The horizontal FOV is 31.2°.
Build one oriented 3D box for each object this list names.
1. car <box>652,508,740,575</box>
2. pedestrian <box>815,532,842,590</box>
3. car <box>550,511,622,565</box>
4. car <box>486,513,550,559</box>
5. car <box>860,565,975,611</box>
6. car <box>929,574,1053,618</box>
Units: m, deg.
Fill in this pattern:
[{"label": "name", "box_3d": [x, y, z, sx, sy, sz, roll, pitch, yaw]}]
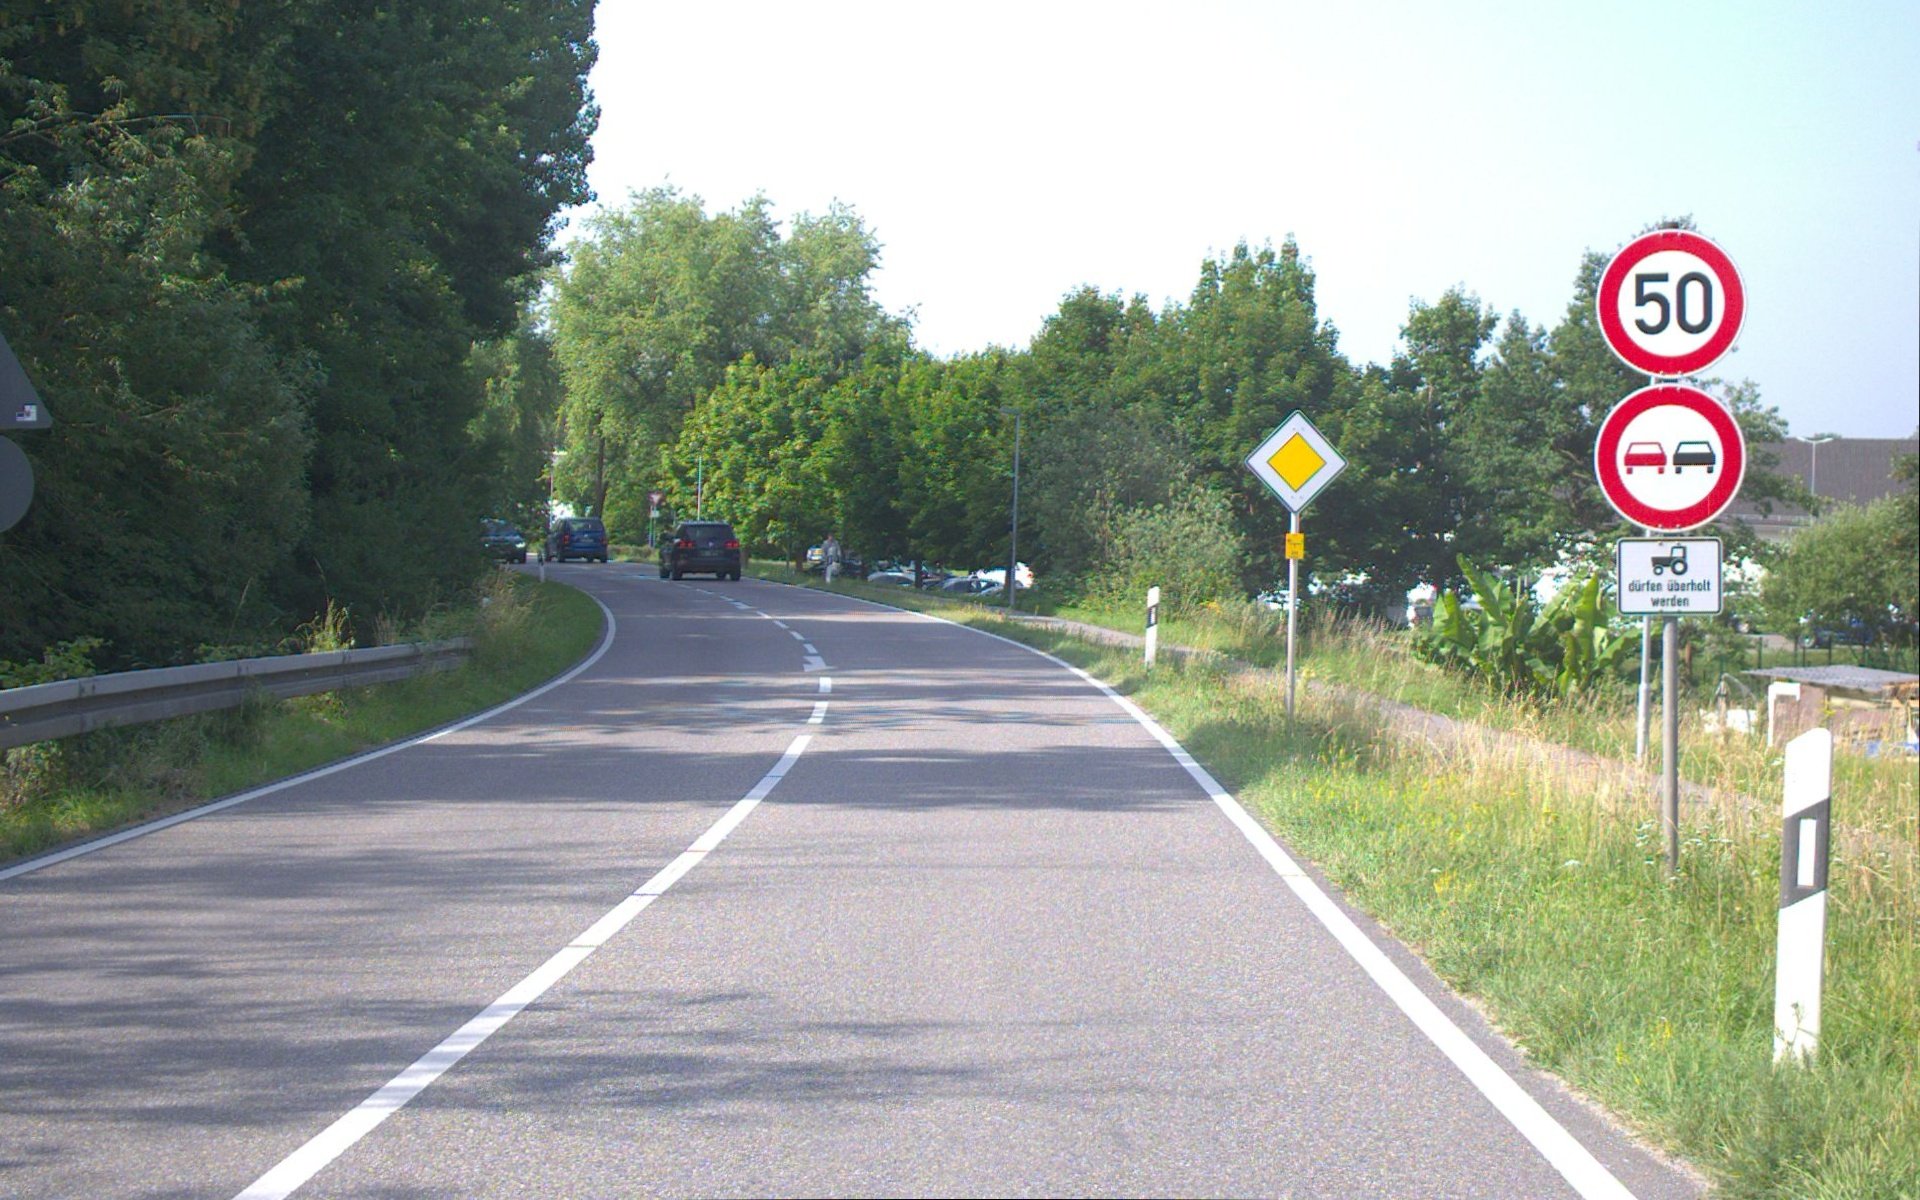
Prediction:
[{"label": "car", "box_3d": [-7.521, -1.677, 97.651, 1.924, 1.765, 4.002, 2, 2, -12]}, {"label": "pedestrian", "box_3d": [-4.080, -1.222, 106.822, 0.754, 1.769, 0.973, 2, 1, 0]}, {"label": "car", "box_3d": [-13.444, -2.240, 123.335, 2.003, 1.765, 4.002, 2, 2, -14]}, {"label": "car", "box_3d": [-15.773, -2.285, 122.485, 1.750, 1.469, 4.002, 2, 2, -14]}, {"label": "car", "box_3d": [-1.682, -0.485, 135.176, 4.233, 1.674, 1.891, 1, 1, -10]}, {"label": "car", "box_3d": [1.109, -0.148, 124.207, 4.261, 1.466, 1.844, 1, 1, -7]}]
